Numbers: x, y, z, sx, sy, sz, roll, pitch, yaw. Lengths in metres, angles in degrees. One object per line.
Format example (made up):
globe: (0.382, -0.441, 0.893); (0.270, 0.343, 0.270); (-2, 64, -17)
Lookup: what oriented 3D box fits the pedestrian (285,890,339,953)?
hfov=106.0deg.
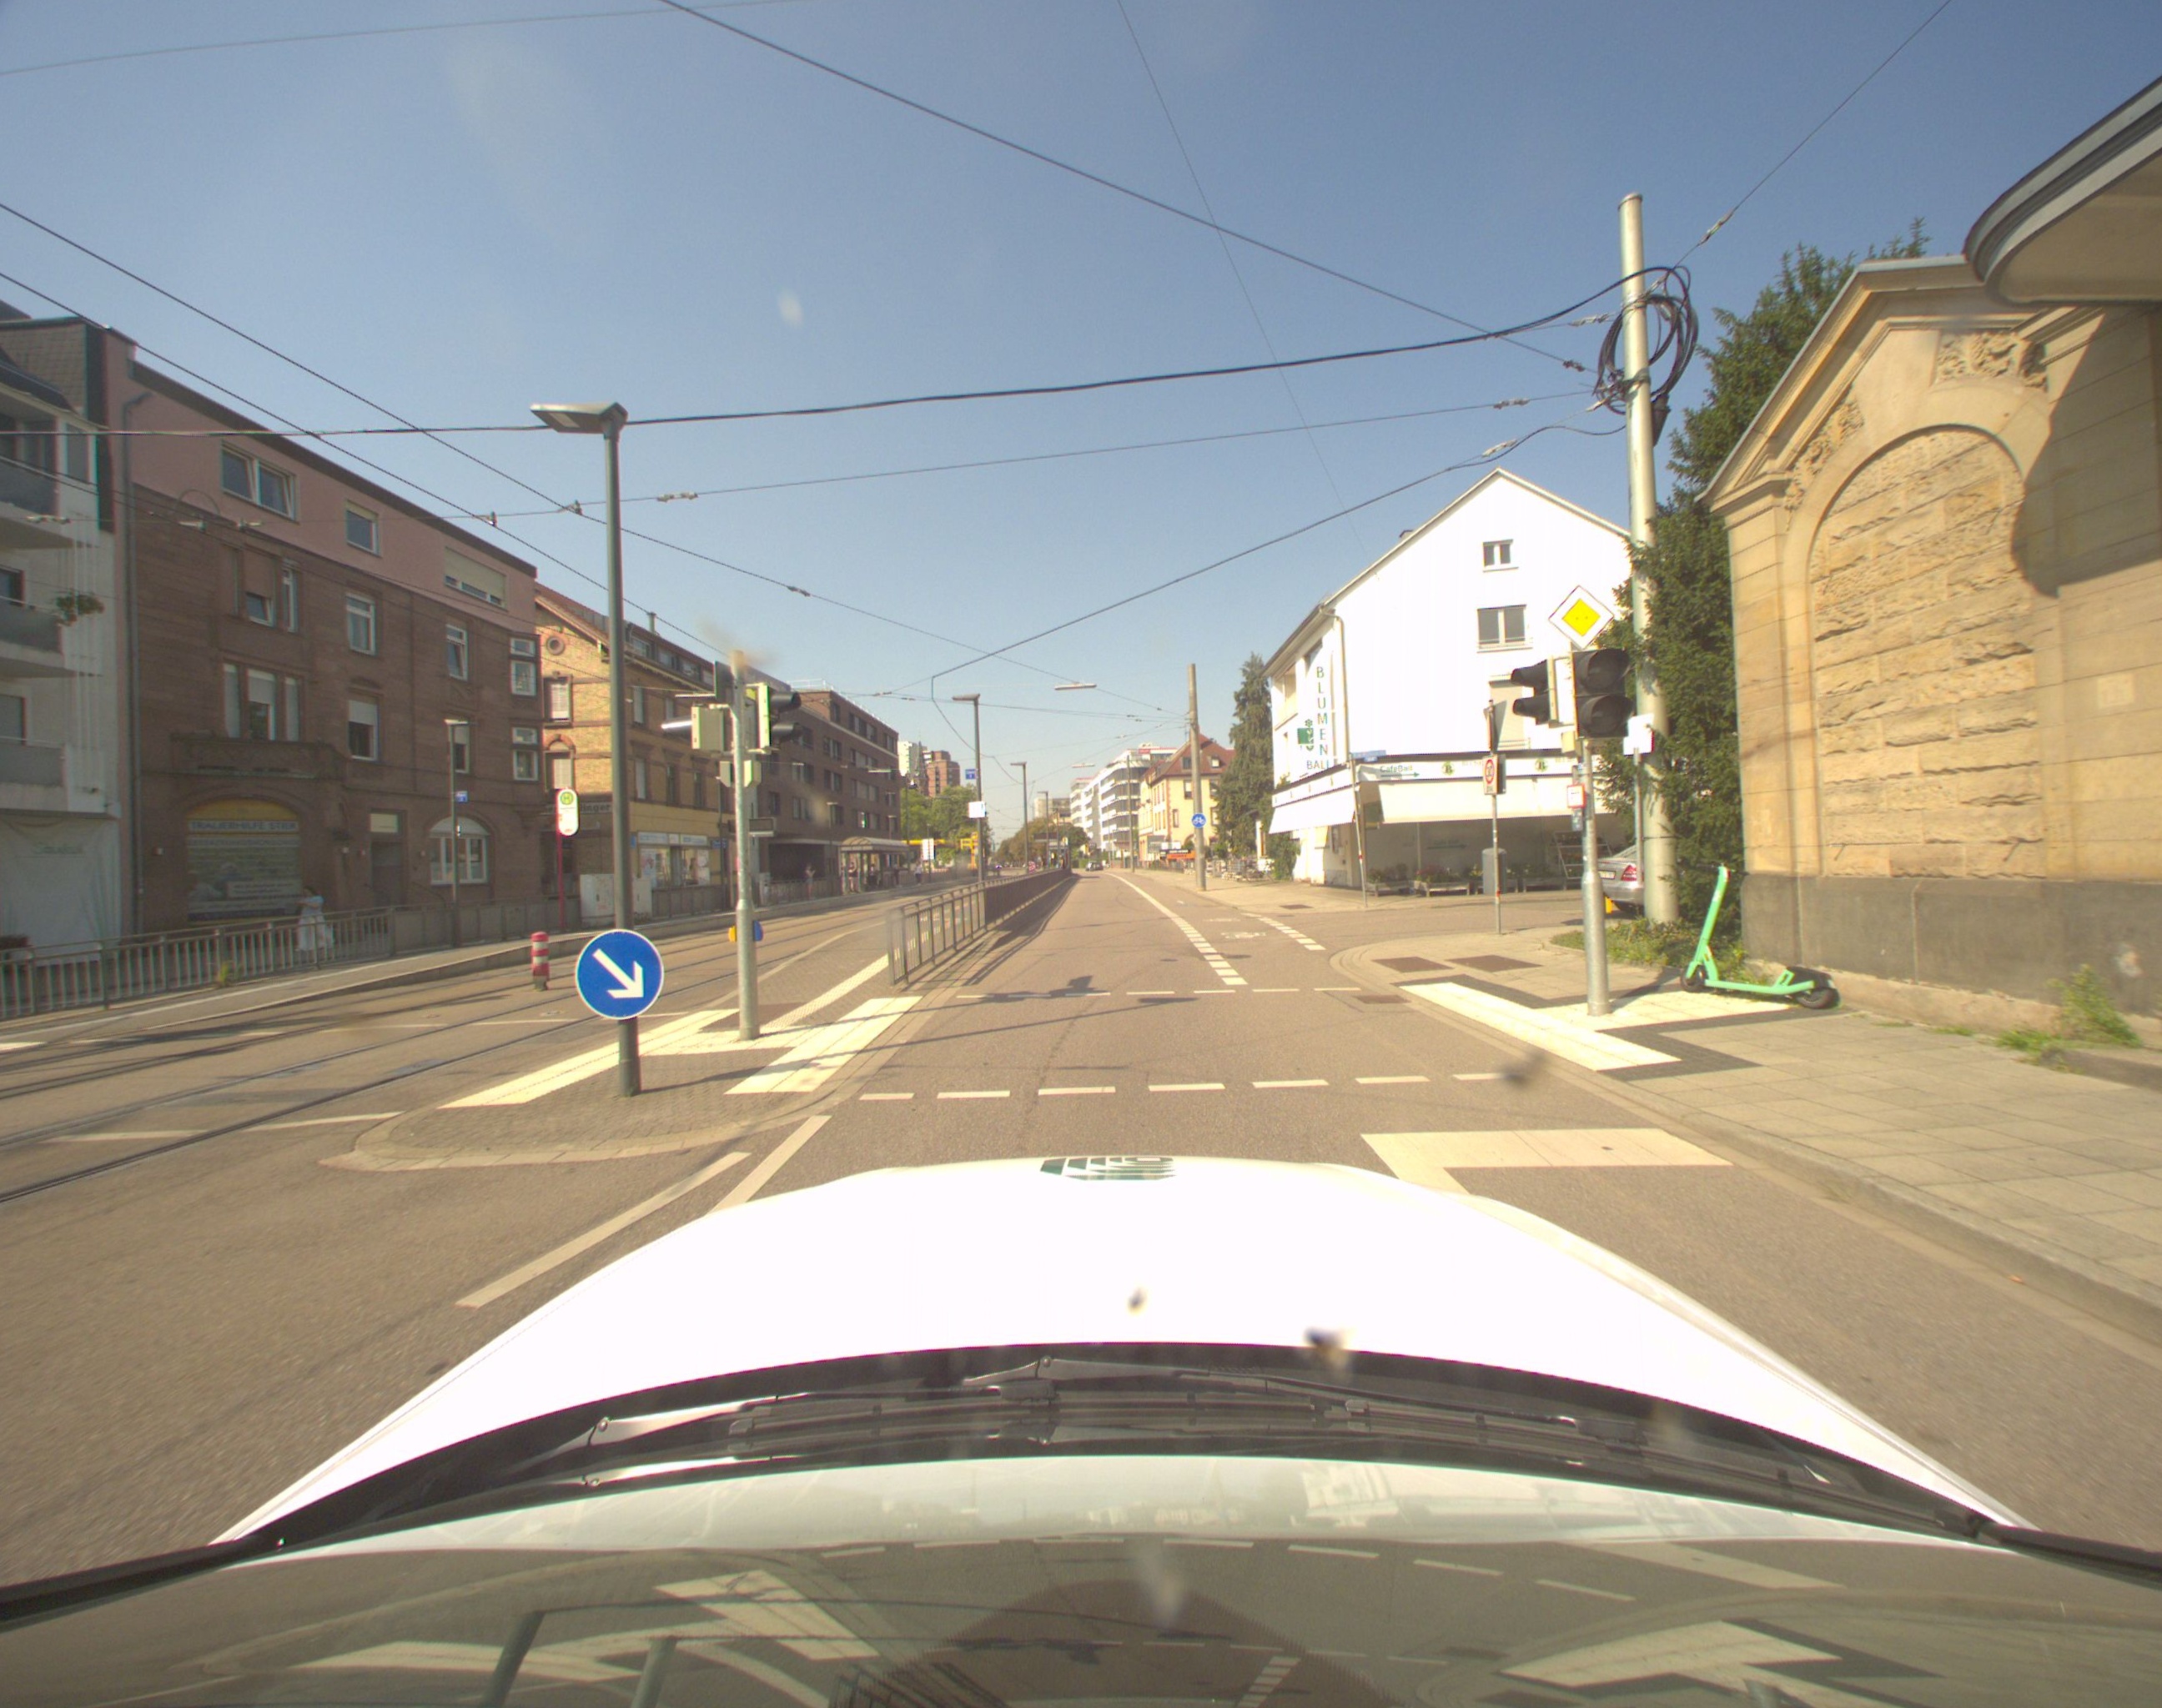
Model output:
pedestrian: (-19.878, 1.730, 21.072); (0.479, 1.560, 0.890); (-2, -2, 12)

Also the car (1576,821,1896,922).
car: (11.185, 0.276, 14.116); (4.164, 1.410, 1.662); (-3, 0, 1)

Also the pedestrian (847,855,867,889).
pedestrian: (-11.980, 0.963, 43.539); (0.705, 1.747, 0.799); (-4, -1, 1)

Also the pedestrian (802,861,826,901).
pedestrian: (-12.105, 1.217, 36.923); (0.705, 1.723, 0.799); (-4, -1, 1)

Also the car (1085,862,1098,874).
car: (1.757, 2.277, 134.166); (2.003, 1.859, 4.002); (-4, -1, 2)

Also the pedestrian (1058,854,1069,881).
pedestrian: (-1.124, 0.868, 52.508); (0.535, 1.703, 0.581); (-4, -1, -2)

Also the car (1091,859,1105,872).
car: (2.722, 1.830, 127.919); (2.003, 1.859, 4.002); (-4, -1, 2)

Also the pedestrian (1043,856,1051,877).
pedestrian: (-2.832, 1.036, 67.190); (0.535, 1.703, 0.581); (-4, -1, -2)

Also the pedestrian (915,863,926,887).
pedestrian: (-10.692, 1.399, 54.386); (0.532, 1.530, 0.700); (-4, -1, -5)

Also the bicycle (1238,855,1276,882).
bicycle: (8.125, 0.677, 37.739); (0.730, 1.132, 2.833); (-6, 0, -6)

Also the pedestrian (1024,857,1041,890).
pedestrian: (-2.581, 1.048, 43.466); (0.717, 1.703, 0.884); (-4, -1, 2)

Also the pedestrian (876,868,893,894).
pedestrian: (-11.295, 1.547, 46.838); (0.696, 1.468, 0.534); (-4, -2, 3)

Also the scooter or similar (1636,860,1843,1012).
scooter or similar: (5.591, 0.638, 7.039); (0.521, 1.133, 1.512); (-4, -1, 2)
